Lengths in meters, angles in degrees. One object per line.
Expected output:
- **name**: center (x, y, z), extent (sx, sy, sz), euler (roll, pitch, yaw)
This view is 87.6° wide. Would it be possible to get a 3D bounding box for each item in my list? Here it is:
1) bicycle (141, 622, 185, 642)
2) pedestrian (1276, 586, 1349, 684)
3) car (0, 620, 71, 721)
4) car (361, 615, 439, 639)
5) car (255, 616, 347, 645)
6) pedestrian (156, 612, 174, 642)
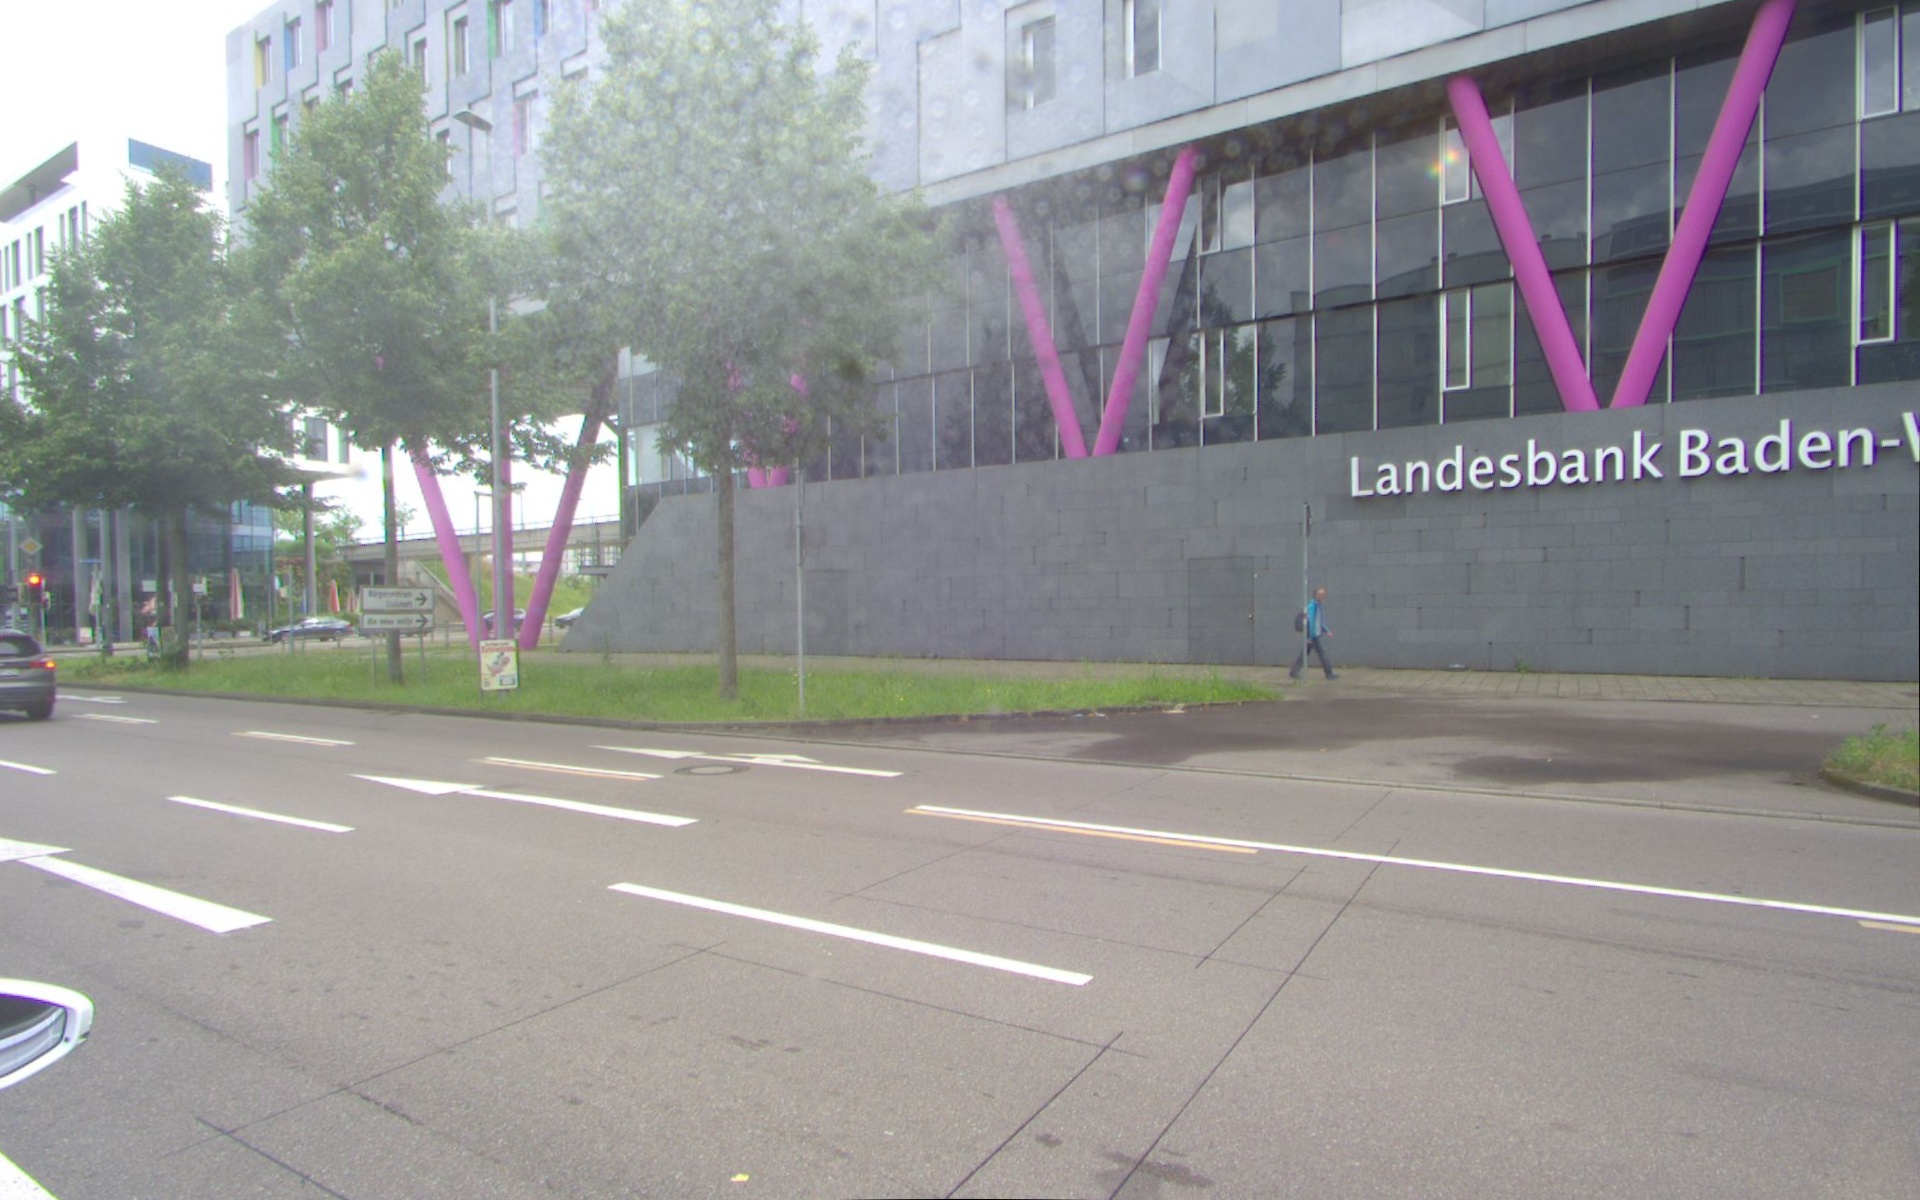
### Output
- **bicycle**: center (-44.015, 1.762, 55.340), extent (0.609, 1.100, 1.787), euler (0, 0, 34)
- **pedestrian**: center (6.751, 0.641, 19.158), extent (1.121, 1.794, 1.049), euler (0, 1, 33)
- **car**: center (-16.754, 1.123, 16.719), extent (4.206, 1.519, 1.744), euler (0, 0, 32)
- **car**: center (-36.243, 1.706, 64.928), extent (1.734, 1.474, 4.070), euler (0, 0, 34)
- **car**: center (-39.176, 1.783, 59.654), extent (1.734, 1.636, 4.240), euler (0, 0, 34)
- **pedestrian**: center (-43.991, 1.501, 55.377), extent (0.610, 1.625, 0.613), euler (0, 1, 34)
